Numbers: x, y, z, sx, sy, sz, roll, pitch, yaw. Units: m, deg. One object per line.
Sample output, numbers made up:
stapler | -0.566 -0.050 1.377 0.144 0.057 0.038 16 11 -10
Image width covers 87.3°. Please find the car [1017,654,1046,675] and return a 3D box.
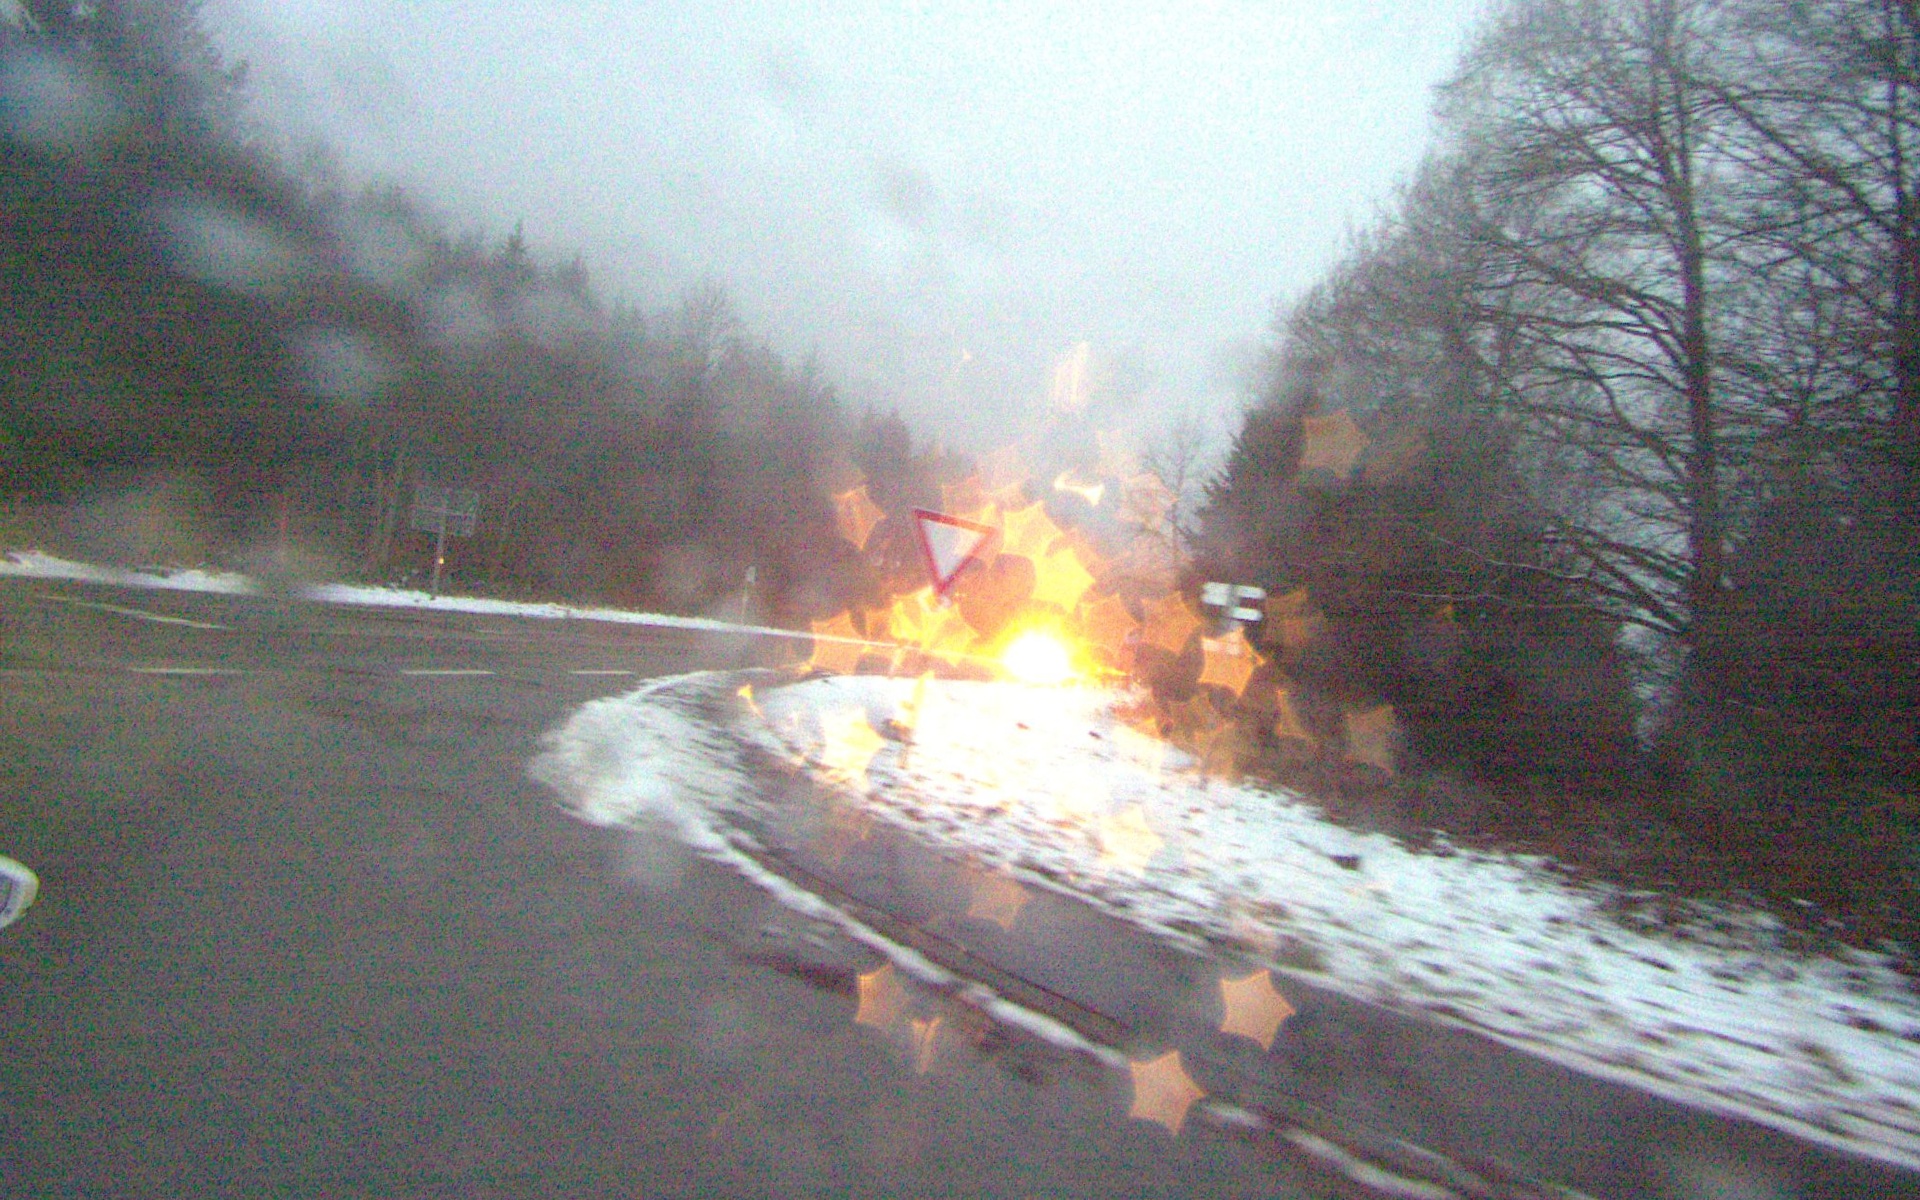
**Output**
car | 5.786 5.218 81.029 1.547 1.469 3.416 7 -1 17
